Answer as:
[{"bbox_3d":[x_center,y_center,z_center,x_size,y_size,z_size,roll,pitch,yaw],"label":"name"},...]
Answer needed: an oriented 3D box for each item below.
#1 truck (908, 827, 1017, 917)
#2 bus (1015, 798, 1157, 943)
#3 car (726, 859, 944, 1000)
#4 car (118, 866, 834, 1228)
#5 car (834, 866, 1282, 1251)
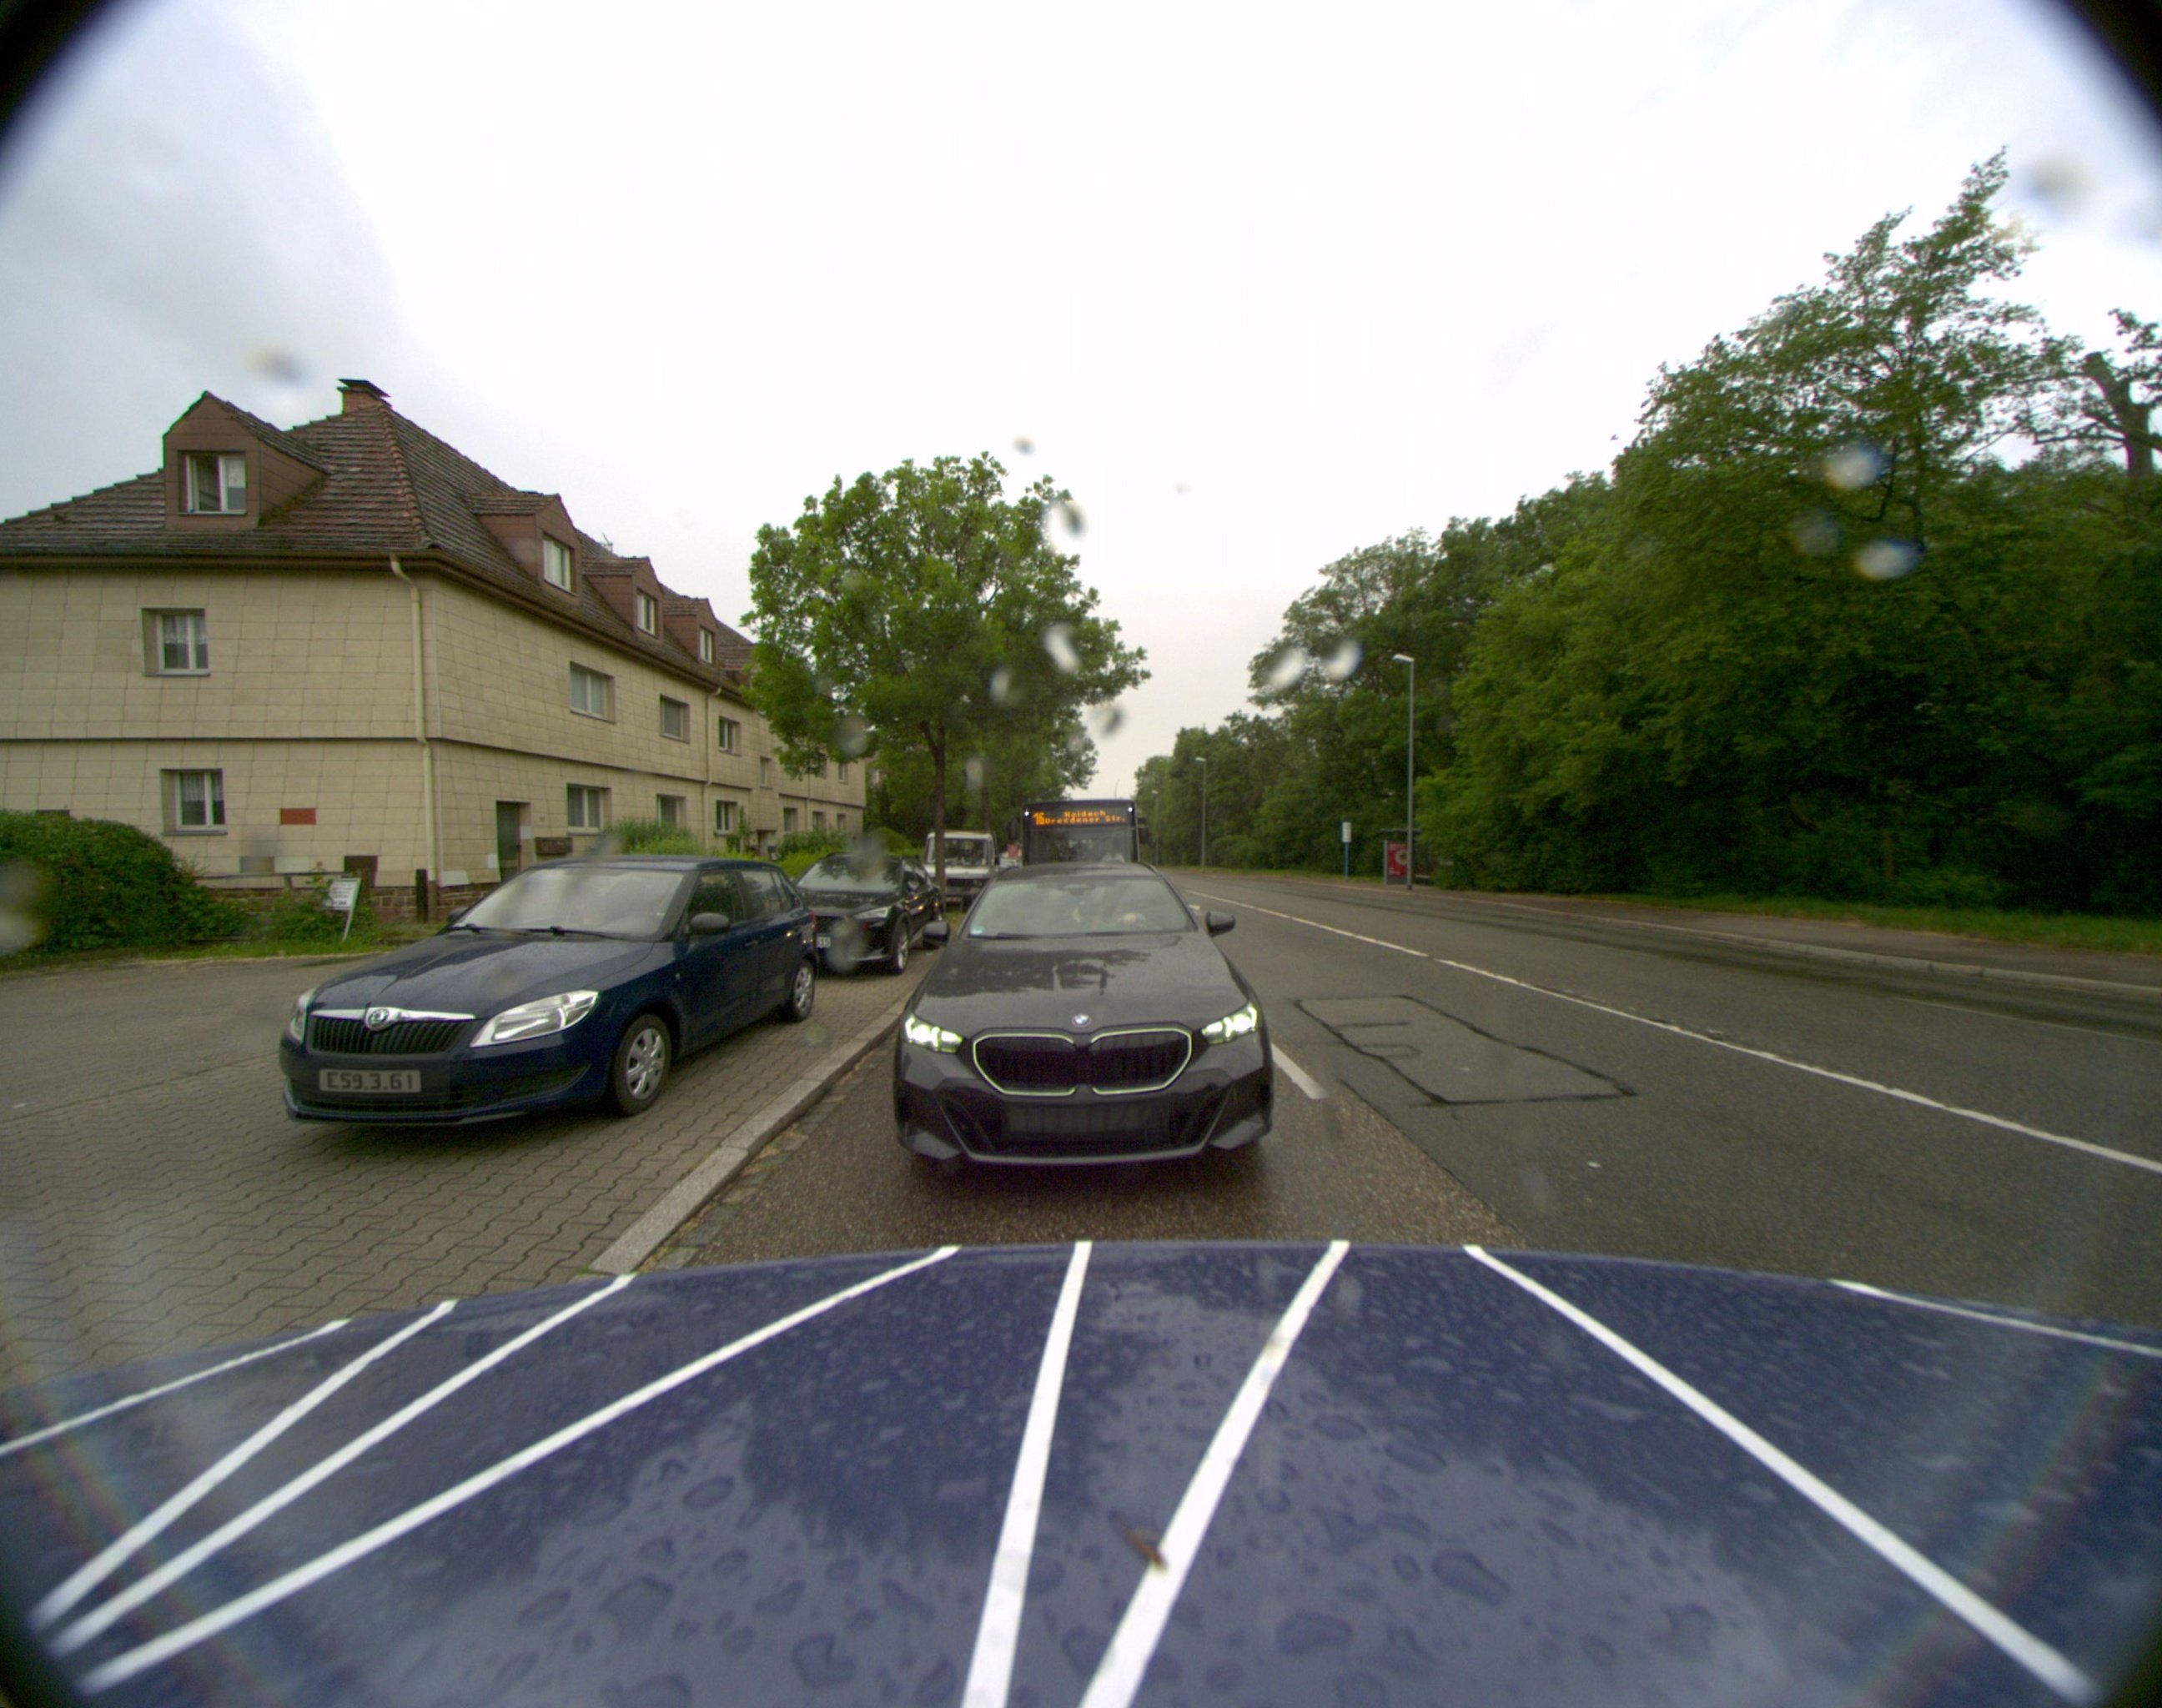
[{"bbox_3d":[-3.121,0.441,21.314,1.998,2.184,5.756,0,0,2],"label":"truck"},{"bbox_3d":[0.230,0.291,20.176,2.767,2.858,9.403,-2,1,2],"label":"bus"},{"bbox_3d":[-3.082,0.855,10.415,1.720,1.455,3.999,1,1,-1],"label":"car"},{"bbox_3d":[-3.253,0.861,5.263,1.720,1.416,3.999,1,1,1],"label":"car"},{"bbox_3d":[-0.071,0.930,5.482,1.882,1.520,4.316,-3,0,1],"label":"car"}]
